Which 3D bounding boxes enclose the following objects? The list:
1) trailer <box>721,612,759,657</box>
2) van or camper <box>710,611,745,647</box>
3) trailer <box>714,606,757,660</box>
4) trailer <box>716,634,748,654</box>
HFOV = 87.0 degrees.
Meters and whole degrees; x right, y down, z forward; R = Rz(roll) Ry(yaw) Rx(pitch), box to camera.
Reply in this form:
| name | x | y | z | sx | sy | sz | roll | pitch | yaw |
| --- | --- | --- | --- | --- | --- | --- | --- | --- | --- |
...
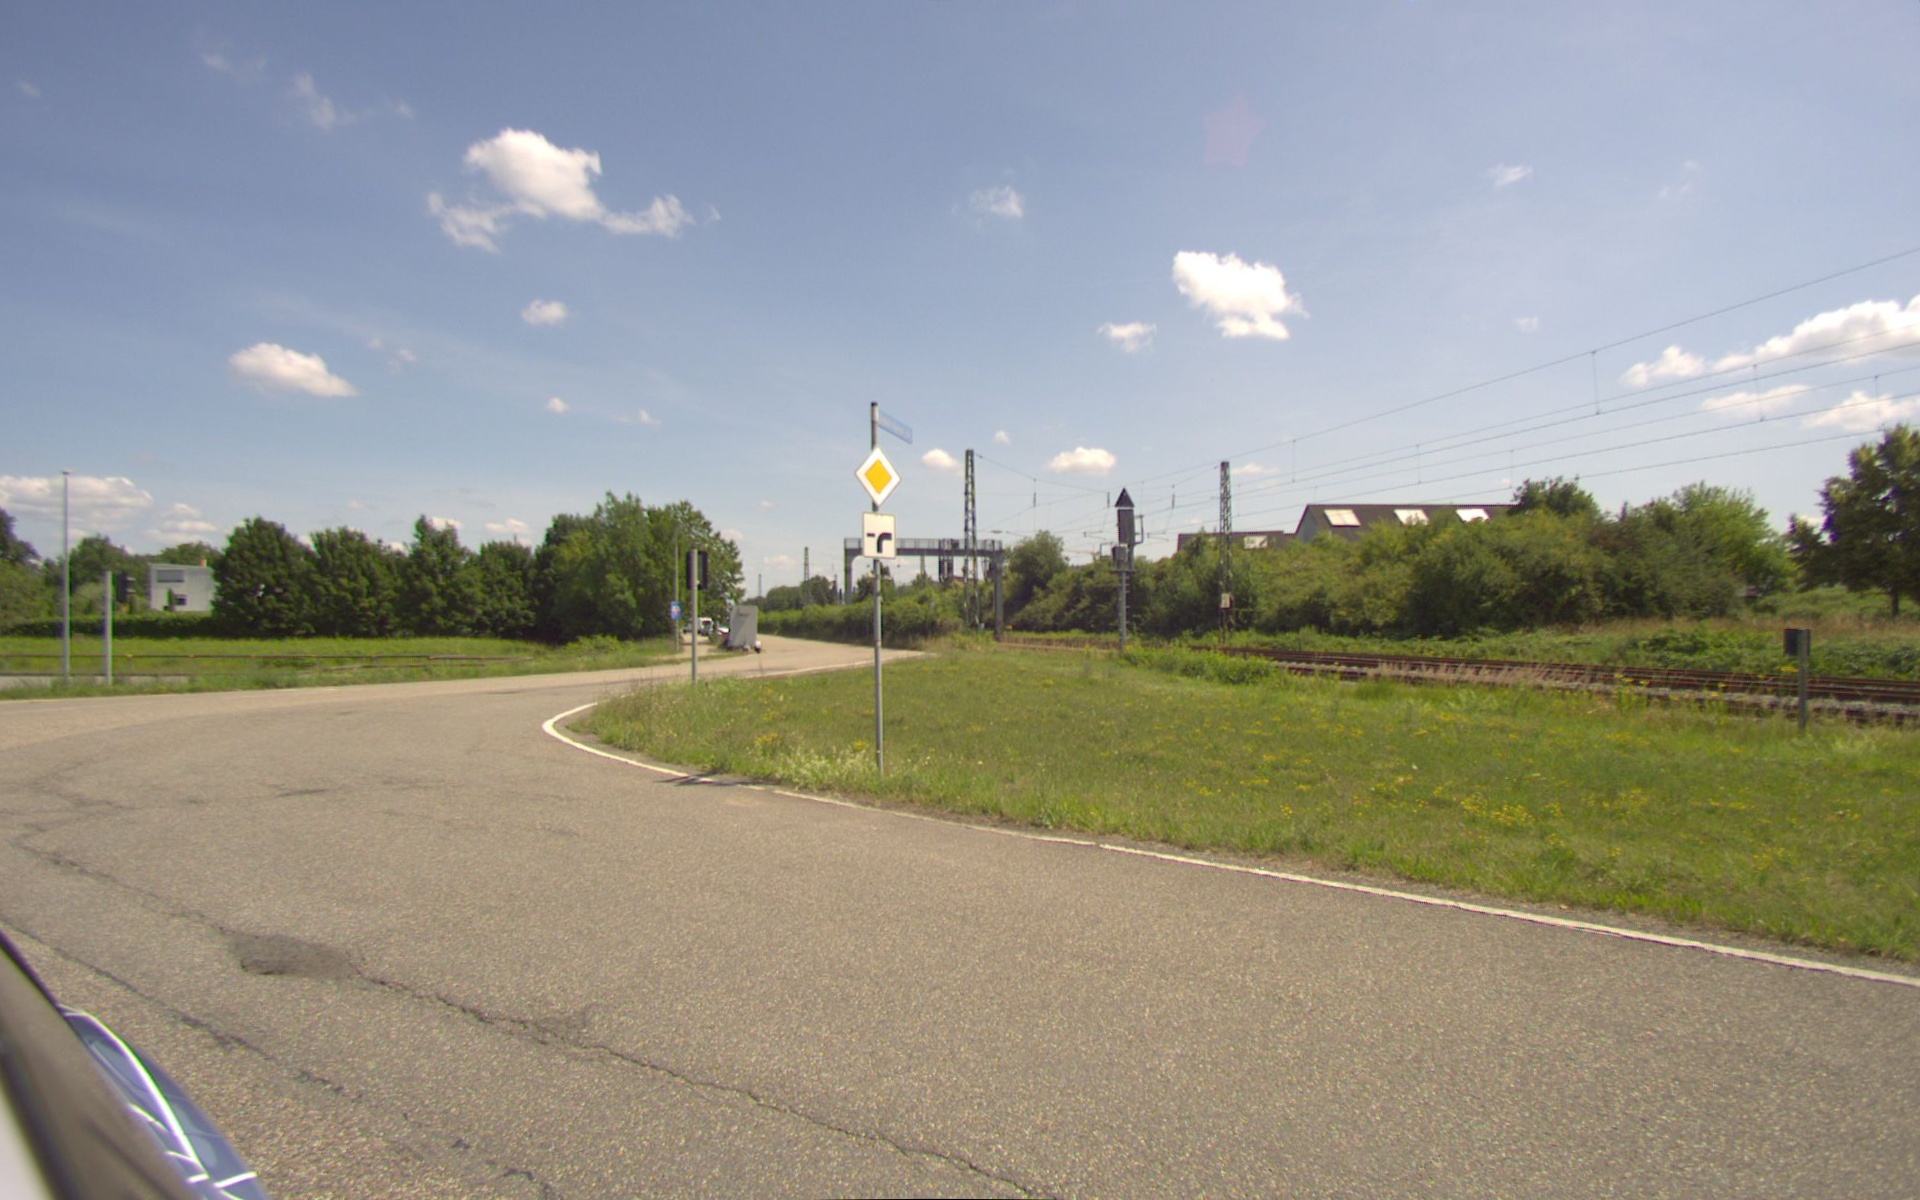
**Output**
| name | x | y | z | sx | sy | sz | roll | pitch | yaw |
| --- | --- | --- | --- | --- | --- | --- | --- | --- | --- |
| trailer | -13.167 | 2.069 | 60.494 | 1.892 | 2.527 | 4.754 | 2 | -2 | -15 |
| van or camper | -19.449 | 2.379 | 84.357 | 2.405 | 2.848 | 7.645 | 1 | -2 | -15 |
| trailer | -11.814 | 1.757 | 53.538 | 1.908 | 2.664 | 5.194 | 2 | -2 | -10 |
| trailer | -14.956 | 2.870 | 66.397 | 1.978 | 1.131 | 4.500 | 2 | -1 | -13 |
